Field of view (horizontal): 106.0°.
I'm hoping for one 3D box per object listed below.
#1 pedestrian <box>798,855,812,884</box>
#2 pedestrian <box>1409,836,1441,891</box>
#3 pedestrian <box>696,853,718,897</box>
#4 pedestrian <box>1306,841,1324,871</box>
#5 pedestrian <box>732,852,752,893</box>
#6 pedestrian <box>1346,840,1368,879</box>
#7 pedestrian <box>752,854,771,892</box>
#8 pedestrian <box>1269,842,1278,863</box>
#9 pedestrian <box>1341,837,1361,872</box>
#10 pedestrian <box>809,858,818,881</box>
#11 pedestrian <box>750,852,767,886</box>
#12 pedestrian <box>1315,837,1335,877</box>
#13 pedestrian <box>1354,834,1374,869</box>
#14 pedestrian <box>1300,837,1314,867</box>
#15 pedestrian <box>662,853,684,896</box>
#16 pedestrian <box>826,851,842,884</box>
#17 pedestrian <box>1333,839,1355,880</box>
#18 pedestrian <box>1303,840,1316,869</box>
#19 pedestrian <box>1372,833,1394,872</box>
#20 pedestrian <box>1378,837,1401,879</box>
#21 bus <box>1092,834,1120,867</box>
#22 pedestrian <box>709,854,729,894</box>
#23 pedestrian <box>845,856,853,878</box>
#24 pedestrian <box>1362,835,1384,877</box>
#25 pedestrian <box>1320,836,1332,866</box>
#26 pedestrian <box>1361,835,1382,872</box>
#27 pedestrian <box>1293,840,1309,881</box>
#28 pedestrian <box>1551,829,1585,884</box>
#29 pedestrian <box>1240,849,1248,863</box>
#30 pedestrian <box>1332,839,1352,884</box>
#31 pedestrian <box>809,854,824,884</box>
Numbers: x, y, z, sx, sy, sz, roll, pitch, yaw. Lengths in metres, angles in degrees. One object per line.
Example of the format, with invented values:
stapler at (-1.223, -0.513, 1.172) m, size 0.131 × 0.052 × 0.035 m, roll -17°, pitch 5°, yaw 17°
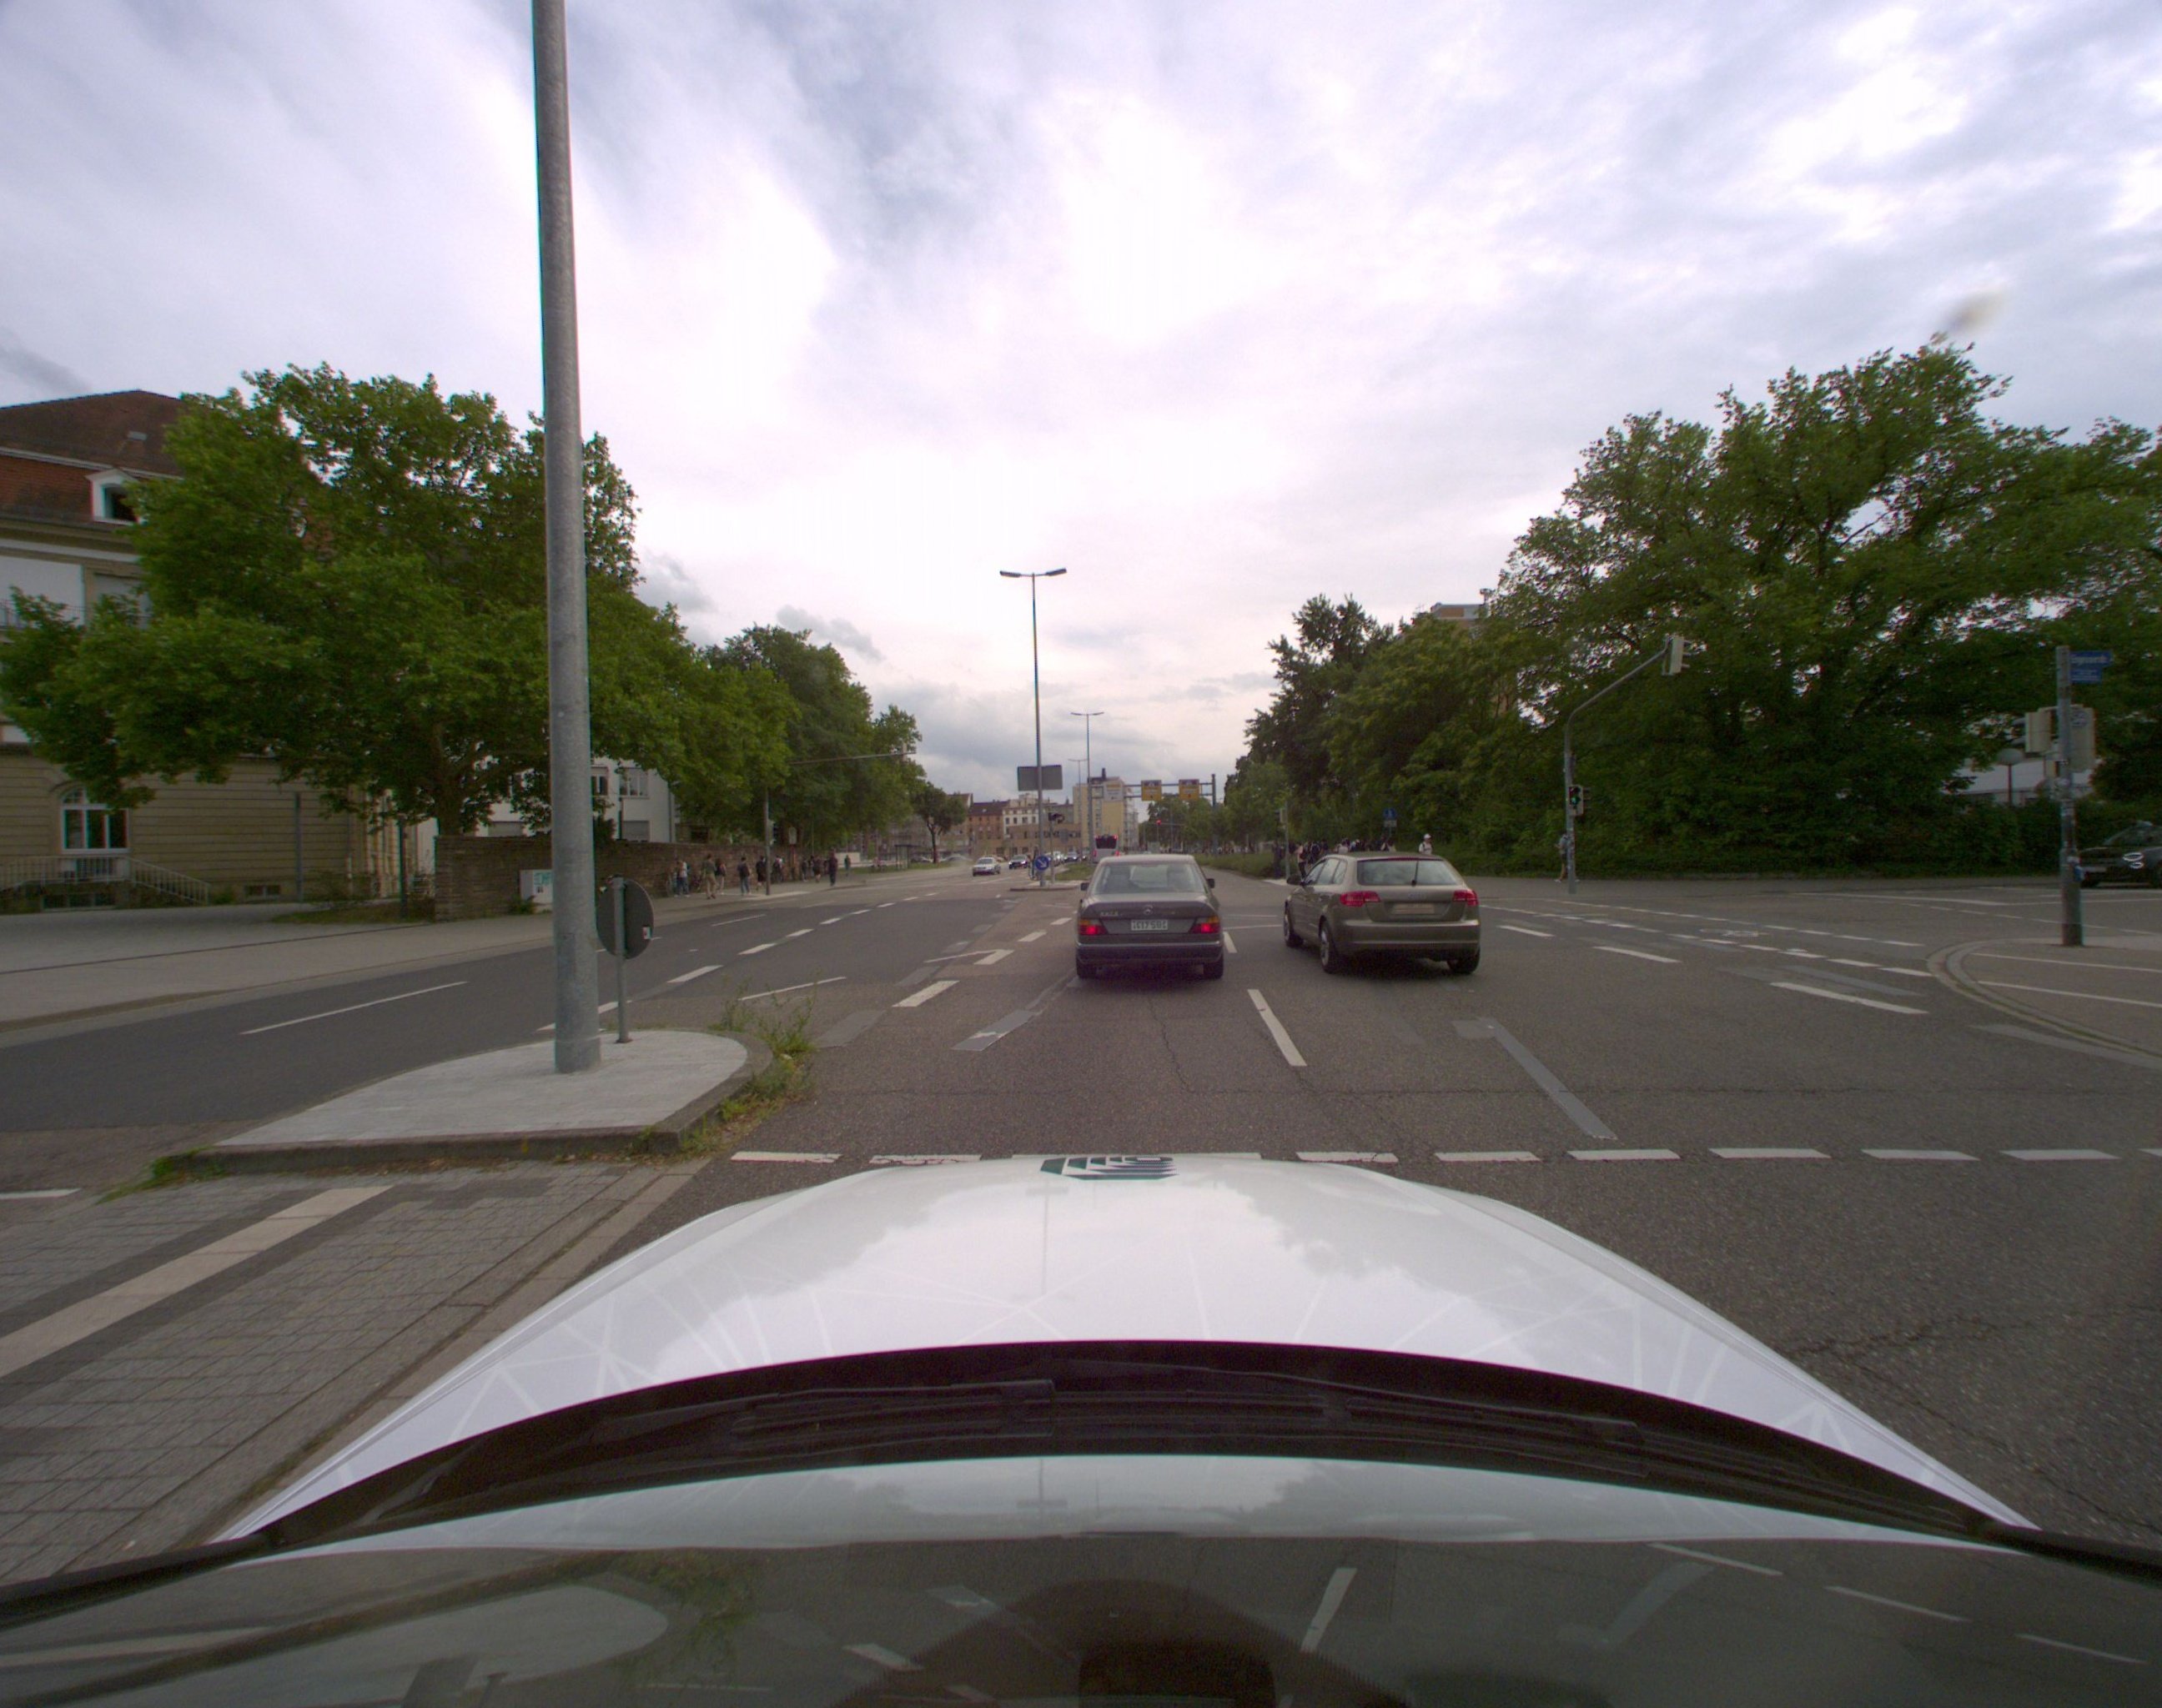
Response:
pedestrian at (-17.545, 0.992, 51.765) m, size 0.762 × 1.782 × 0.777 m, roll -1°, pitch -2°, yaw -25°
pedestrian at (11.709, 0.319, 27.722) m, size 0.645 × 1.852 × 0.826 m, roll 0°, pitch -1°, yaw -11°
pedestrian at (-15.256, 0.852, 33.241) m, size 0.749 × 1.782 × 0.776 m, roll 0°, pitch -2°, yaw -29°
pedestrian at (12.719, 0.100, 44.256) m, size 0.772 × 1.602 × 0.813 m, roll -2°, pitch 0°, yaw 4°
pedestrian at (-15.140, 0.828, 36.414) m, size 0.763 × 1.782 × 0.777 m, roll -1°, pitch -2°, yaw -26°
pedestrian at (13.039, 0.268, 38.478) m, size 0.654 × 1.766 × 0.958 m, roll -4°, pitch 0°, yaw 2°
pedestrian at (-15.373, 0.922, 39.174) m, size 0.762 × 1.782 × 0.777 m, roll -1°, pitch -2°, yaw -25°
pedestrian at (15.313, -0.115, 64.811) m, size 0.585 × 1.683 × 0.749 m, roll -2°, pitch 0°, yaw 4°
pedestrian at (13.294, 0.033, 40.114) m, size 0.654 × 1.689 × 0.842 m, roll -2°, pitch 0°, yaw 2°
pedestrian at (-19.373, 1.118, 58.893) m, size 0.588 × 1.592 × 0.731 m, roll -1°, pitch -2°, yaw -19°
pedestrian at (-17.091, 0.789, 43.119) m, size 0.762 × 1.782 × 0.907 m, roll -1°, pitch -2°, yaw -25°
pedestrian at (10.952, 0.120, 36.573) m, size 0.654 × 1.745 × 0.780 m, roll -2°, pitch 0°, yaw 2°
pedestrian at (14.145, -0.127, 40.701) m, size 0.654 × 1.667 × 0.971 m, roll -2°, pitch 0°, yaw 2°
pedestrian at (13.552, -0.123, 48.835) m, size 0.616 × 1.735 × 0.815 m, roll -2°, pitch 0°, yaw 4°
pedestrian at (-17.112, 0.856, 34.175) m, size 0.749 × 1.782 × 0.776 m, roll 0°, pitch -2°, yaw -31°
pedestrian at (-13.484, 0.735, 44.391) m, size 0.761 × 1.782 × 0.717 m, roll -1°, pitch -2°, yaw -20°
pedestrian at (11.284, 0.234, 34.945) m, size 0.622 × 1.745 × 0.780 m, roll -2°, pitch 0°, yaw 2°
pedestrian at (13.175, 0.021, 46.936) m, size 0.553 × 1.655 × 0.754 m, roll -2°, pitch 0°, yaw 4°
pedestrian at (13.838, -0.055, 37.332) m, size 0.654 × 1.745 × 0.780 m, roll -2°, pitch 0°, yaw 2°
pedestrian at (13.172, 0.178, 34.763) m, size 0.654 × 1.745 × 0.780 m, roll -2°, pitch 0°, yaw 2°
bus at (2.735, -0.355, 88.340) m, size 2.820 × 3.390 × 8.187 m, roll -1°, pitch 0°, yaw 2°
pedestrian at (-16.366, 0.917, 36.841) m, size 0.763 × 1.782 × 0.776 m, roll -1°, pitch -2°, yaw -28°
pedestrian at (-18.104, 1.002, 63.521) m, size 0.560 × 1.668 × 0.624 m, roll -1°, pitch -2°, yaw -13°
pedestrian at (12.454, 0.078, 34.759) m, size 0.654 × 1.745 × 0.780 m, roll -2°, pitch 0°, yaw 2°
pedestrian at (14.502, -0.162, 48.246) m, size 0.482 × 1.763 × 0.665 m, roll -2°, pitch 0°, yaw 4°
pedestrian at (13.748, -0.025, 38.551) m, size 0.654 × 1.699 × 0.780 m, roll -2°, pitch 0°, yaw 2°
pedestrian at (9.373, 0.288, 34.710) m, size 0.452 × 1.735 × 0.637 m, roll -2°, pitch 0°, yaw 1°
pedestrian at (16.253, 0.072, 27.174) m, size 0.642 × 1.795 × 0.740 m, roll -2°, pitch 0°, yaw 1°
pedestrian at (17.327, 0.236, 86.687) m, size 0.651 × 1.470 × 0.564 m, roll -2°, pitch 0°, yaw 20°
pedestrian at (9.988, 0.288, 31.179) m, size 0.543 × 1.687 × 0.637 m, roll -2°, pitch 0°, yaw 1°
pedestrian at (-16.173, 0.917, 49.732) m, size 0.762 × 1.782 × 0.916 m, roll -1°, pitch -2°, yaw -25°
